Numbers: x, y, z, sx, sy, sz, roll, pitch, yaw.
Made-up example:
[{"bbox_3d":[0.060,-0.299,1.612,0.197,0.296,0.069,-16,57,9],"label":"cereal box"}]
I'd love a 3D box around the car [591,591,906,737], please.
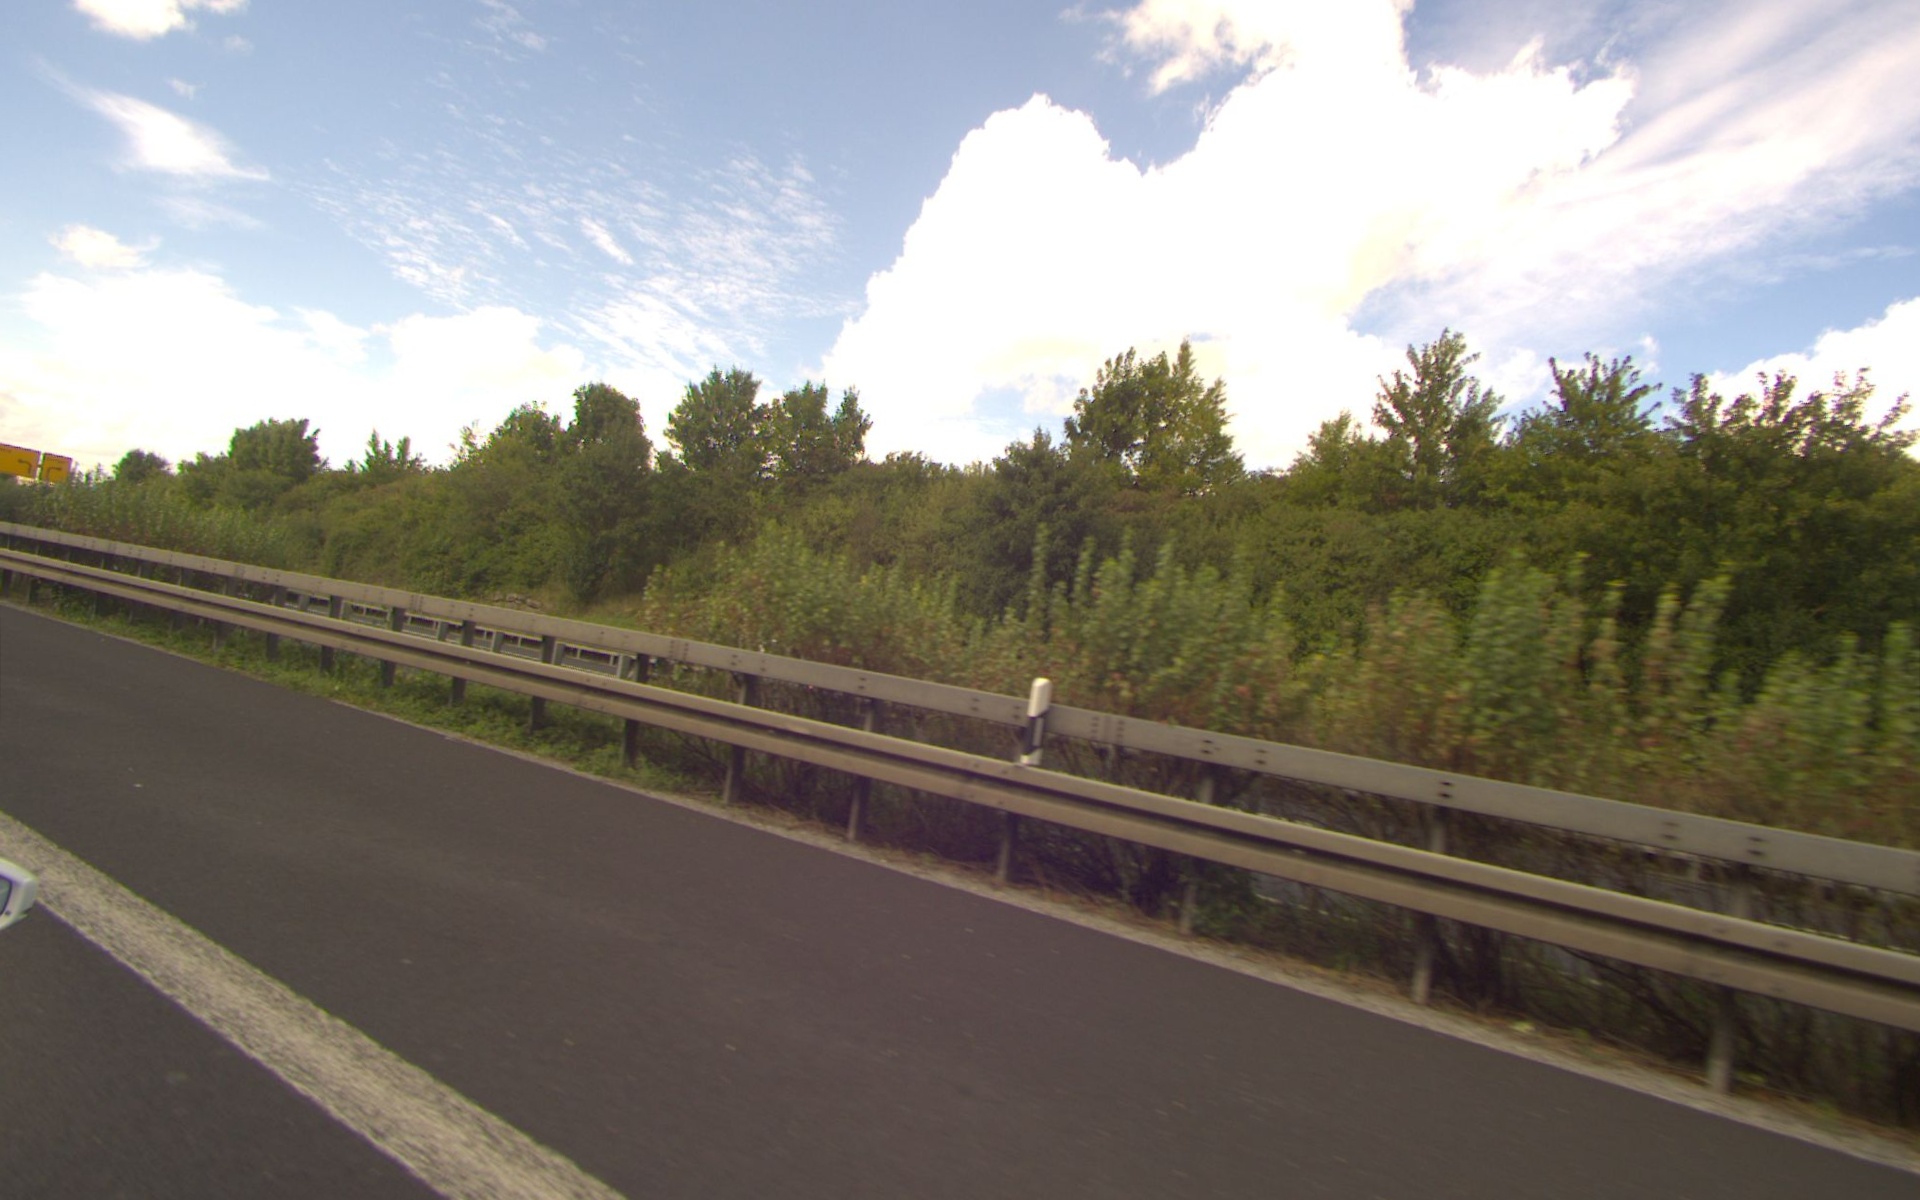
[{"bbox_3d":[-3.343,0.963,15.704,4.595,1.536,1.789,7,-2,28],"label":"car"}]
